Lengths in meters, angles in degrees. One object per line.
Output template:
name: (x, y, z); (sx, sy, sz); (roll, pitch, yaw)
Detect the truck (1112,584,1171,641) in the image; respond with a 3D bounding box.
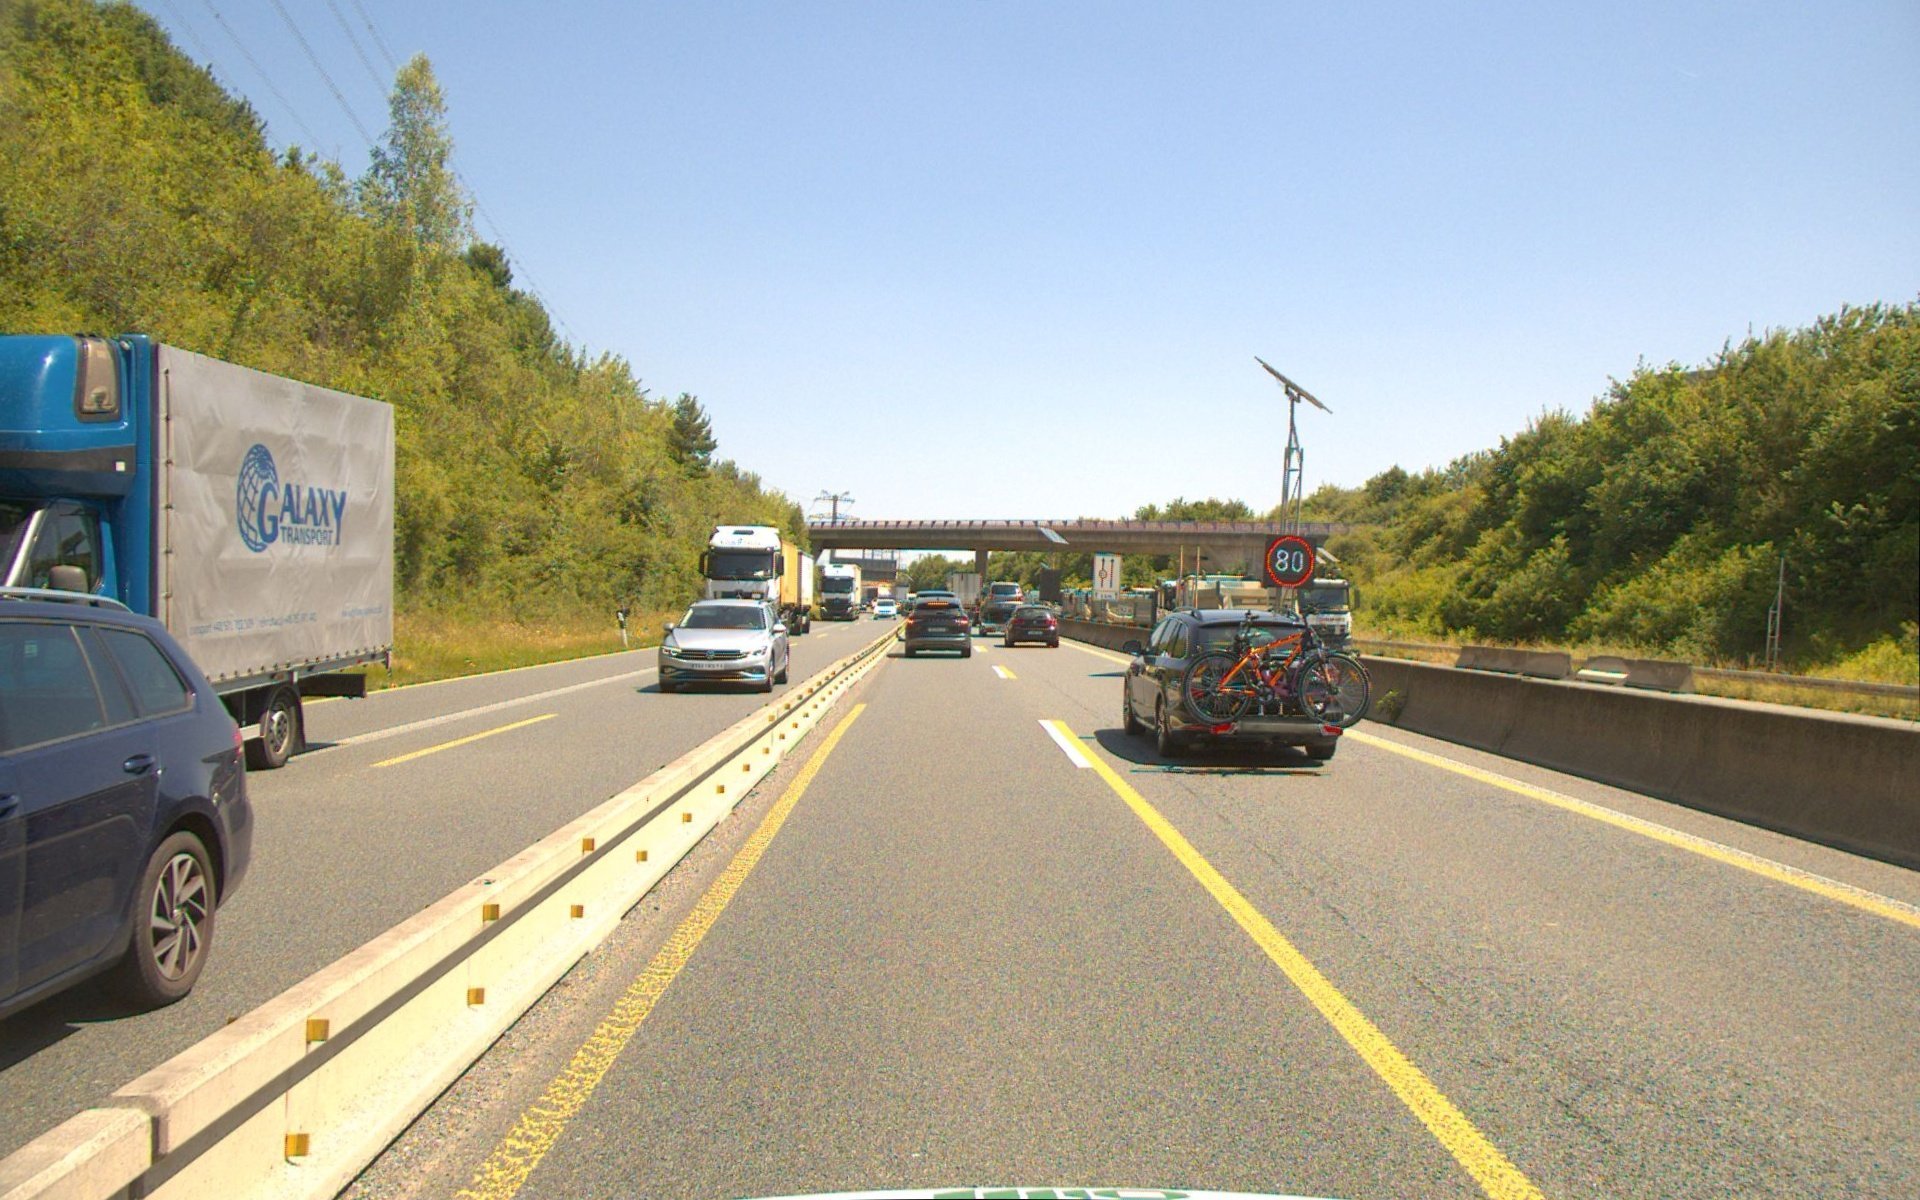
truck: (11.560, 0.769, 106.093); (2.632, 3.437, 9.601); (1, 0, 0)

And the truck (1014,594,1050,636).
truck: (6.873, 1.378, 158.899); (2.633, 3.923, 9.321); (1, 0, -2)

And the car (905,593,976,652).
car: (-0.525, 0.602, 45.924); (1.860, 1.531, 4.275); (1, 0, -1)

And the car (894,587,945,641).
car: (-1.546, 0.527, 64.364); (1.860, 2.003, 4.275); (1, 0, -1)

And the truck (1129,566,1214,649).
truck: (9.790, 0.344, 77.540); (2.487, 3.619, 9.599); (1, 0, -1)

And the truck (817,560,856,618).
truck: (-9.133, -0.783, 123.332); (2.361, 4.062, 10.348); (2, 0, -2)

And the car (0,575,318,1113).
car: (-3.559, 0.673, 4.742); (1.725, 1.516, 4.401); (1, 0, -1)

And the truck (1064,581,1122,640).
truck: (8.570, 0.662, 107.582); (2.633, 3.619, 9.402); (1, 0, -2)

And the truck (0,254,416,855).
truck: (-6.603, -0.289, 12.687); (2.356, 3.388, 7.499); (1, 0, 0)

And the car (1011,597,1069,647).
car: (2.722, 0.741, 57.321); (1.860, 1.613, 4.276); (1, 0, 1)

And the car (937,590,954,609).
car: (-1.592, -0.095, 180.161); (1.860, 2.003, 4.275); (1, 0, -1)

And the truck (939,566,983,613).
truck: (0.055, -0.908, 144.677); (3.227, 3.912, 10.103); (1, 0, -3)

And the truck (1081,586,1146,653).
truck: (8.808, 1.060, 95.862); (2.633, 3.619, 9.600); (1, 0, -1)

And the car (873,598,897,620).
car: (-5.981, 0.708, 132.164); (1.788, 1.659, 4.149); (1, 0, -2)

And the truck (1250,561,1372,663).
truck: (13.171, 0.411, 62.809); (2.633, 3.572, 8.377); (1, 0, -1)

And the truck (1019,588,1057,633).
truck: (6.893, 0.904, 147.057); (2.633, 3.826, 9.321); (1, 0, -2)

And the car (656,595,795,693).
car: (-3.861, 0.700, 27.879); (1.804, 1.516, 4.509); (0, 0, -1)

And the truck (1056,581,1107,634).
truck: (8.718, 0.502, 119.665); (2.633, 3.619, 9.321); (1, 0, -2)

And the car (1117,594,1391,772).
car: (2.795, 0.739, 16.868); (1.860, 1.516, 4.946); (1, 0, -1)

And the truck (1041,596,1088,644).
truck: (8.067, 1.500, 128.691); (2.633, 3.619, 9.321); (1, 0, -2)

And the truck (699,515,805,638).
truck: (-7.551, -0.809, 61.202); (2.596, 4.061, 9.649); (2, 0, 0)

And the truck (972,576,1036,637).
truck: (1.914, 0.254, 75.072); (2.357, 2.603, 7.496); (1, 0, -2)

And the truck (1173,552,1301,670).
truck: (9.066, 0.339, 55.104); (2.482, 3.572, 9.094); (1, 0, -1)

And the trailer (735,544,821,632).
trailer: (-7.629, -0.485, 70.489); (2.596, 3.394, 8.917); (2, 0, 0)

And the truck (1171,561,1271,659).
truck: (10.210, 0.376, 65.546); (2.481, 3.572, 8.943); (1, 0, 0)
